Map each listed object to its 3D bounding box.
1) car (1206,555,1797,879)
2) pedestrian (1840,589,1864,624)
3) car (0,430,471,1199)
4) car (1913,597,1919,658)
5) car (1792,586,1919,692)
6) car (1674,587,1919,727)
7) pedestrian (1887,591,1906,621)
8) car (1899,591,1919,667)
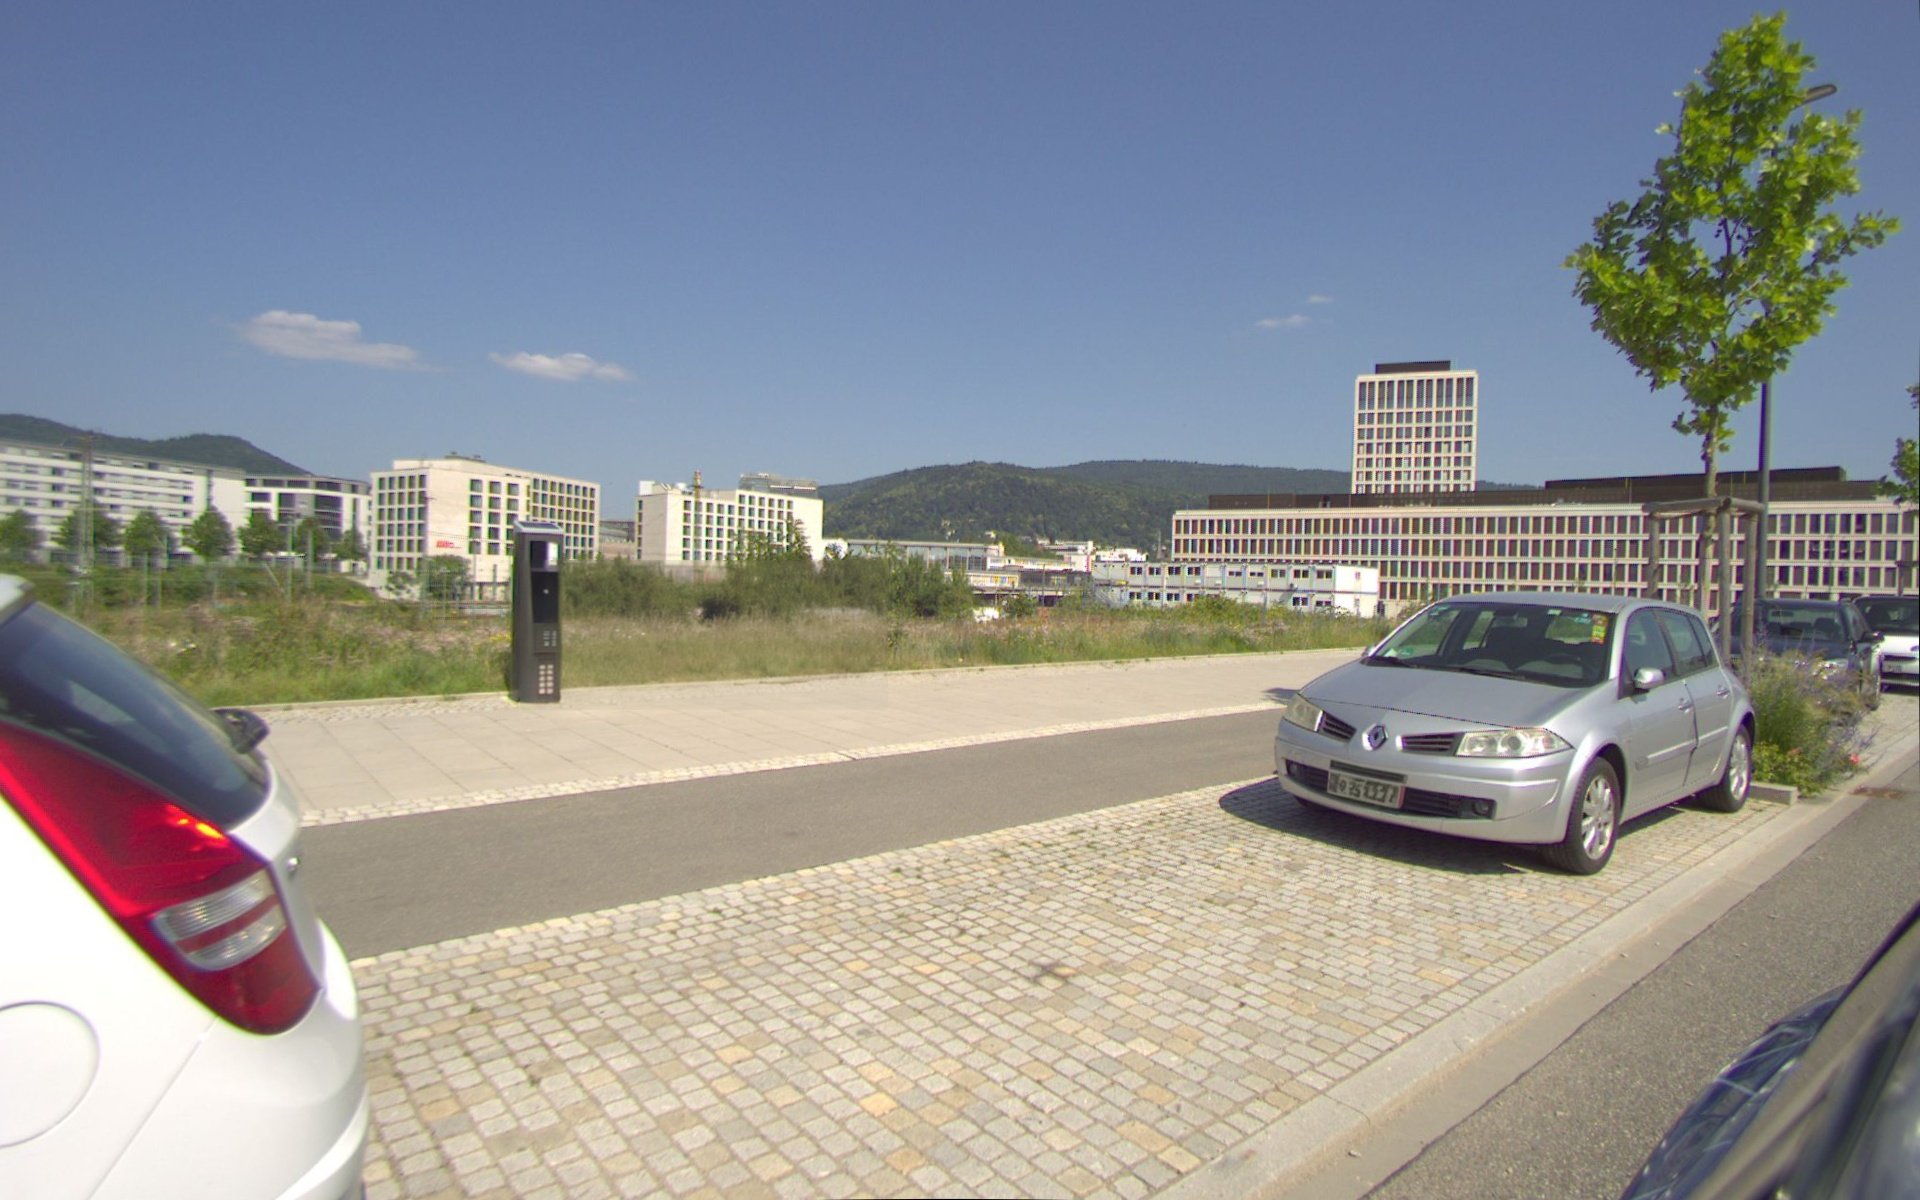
[{"bbox_3d":[3.716,0.530,6.682,4.081,1.497,1.914,1,1,-38],"label":"car"},{"bbox_3d":[45.128,0.323,51.219,0.728,1.726,0.782,1,1,-40],"label":"pedestrian"},{"bbox_3d":[-2.777,0.537,0.859,3.931,1.528,1.749,0,1,-41],"label":"car"},{"bbox_3d":[25.059,0.727,25.068,3.929,1.470,1.720,2,-1,-41],"label":"car"},{"bbox_3d":[15.981,0.612,17.229,4.081,1.597,1.914,1,1,-38],"label":"car"},{"bbox_3d":[10.972,0.622,13.155,4.295,1.495,1.792,0,1,-41],"label":"car"},{"bbox_3d":[53.611,0.331,57.918,0.639,1.727,0.733,0,0,-40],"label":"pedestrian"},{"bbox_3d":[21.844,0.635,21.939,3.579,1.542,1.721,-1,4,-41],"label":"car"}]
